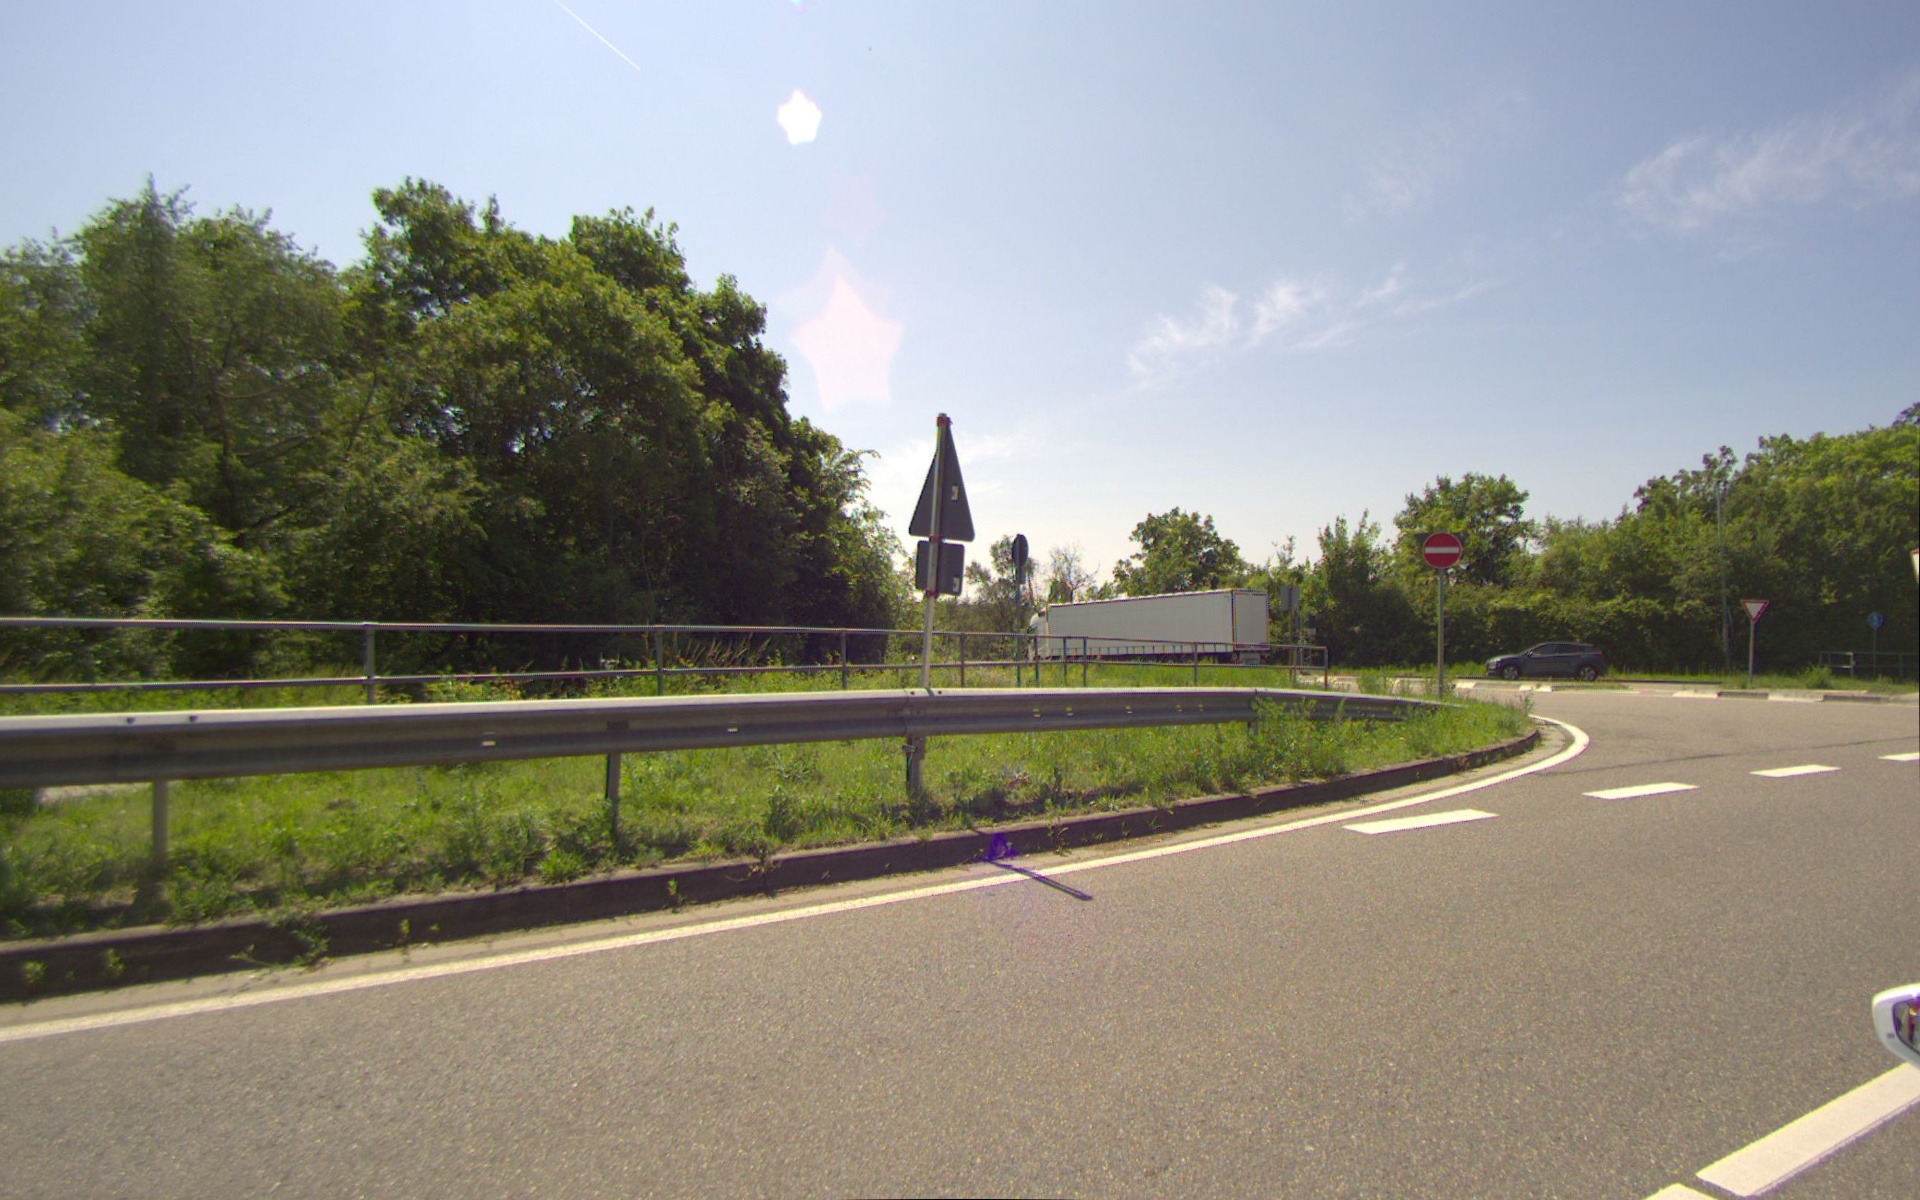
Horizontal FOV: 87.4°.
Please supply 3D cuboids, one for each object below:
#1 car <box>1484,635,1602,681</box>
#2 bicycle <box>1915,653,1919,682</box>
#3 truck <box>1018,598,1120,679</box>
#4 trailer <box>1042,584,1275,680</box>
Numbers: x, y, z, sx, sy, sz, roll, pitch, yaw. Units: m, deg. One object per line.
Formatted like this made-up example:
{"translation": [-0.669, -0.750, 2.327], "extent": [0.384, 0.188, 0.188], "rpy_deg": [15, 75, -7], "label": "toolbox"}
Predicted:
{"translation": [22.865, 2.244, 39.568], "extent": [3.856, 1.617, 1.768], "rpy_deg": [1, 0, 27], "label": "car"}
{"translation": [38.949, 2.703, 39.926], "extent": [1.452, 1.128, 0.437], "rpy_deg": [1, -1, 5], "label": "bicycle"}
{"translation": [6.120, 2.276, 57.492], "extent": [2.962, 4.331, 5.886], "rpy_deg": [1, -4, -29], "label": "truck"}
{"translation": [9.729, 1.890, 52.096], "extent": [2.968, 4.331, 13.664], "rpy_deg": [1, -4, -34], "label": "trailer"}
